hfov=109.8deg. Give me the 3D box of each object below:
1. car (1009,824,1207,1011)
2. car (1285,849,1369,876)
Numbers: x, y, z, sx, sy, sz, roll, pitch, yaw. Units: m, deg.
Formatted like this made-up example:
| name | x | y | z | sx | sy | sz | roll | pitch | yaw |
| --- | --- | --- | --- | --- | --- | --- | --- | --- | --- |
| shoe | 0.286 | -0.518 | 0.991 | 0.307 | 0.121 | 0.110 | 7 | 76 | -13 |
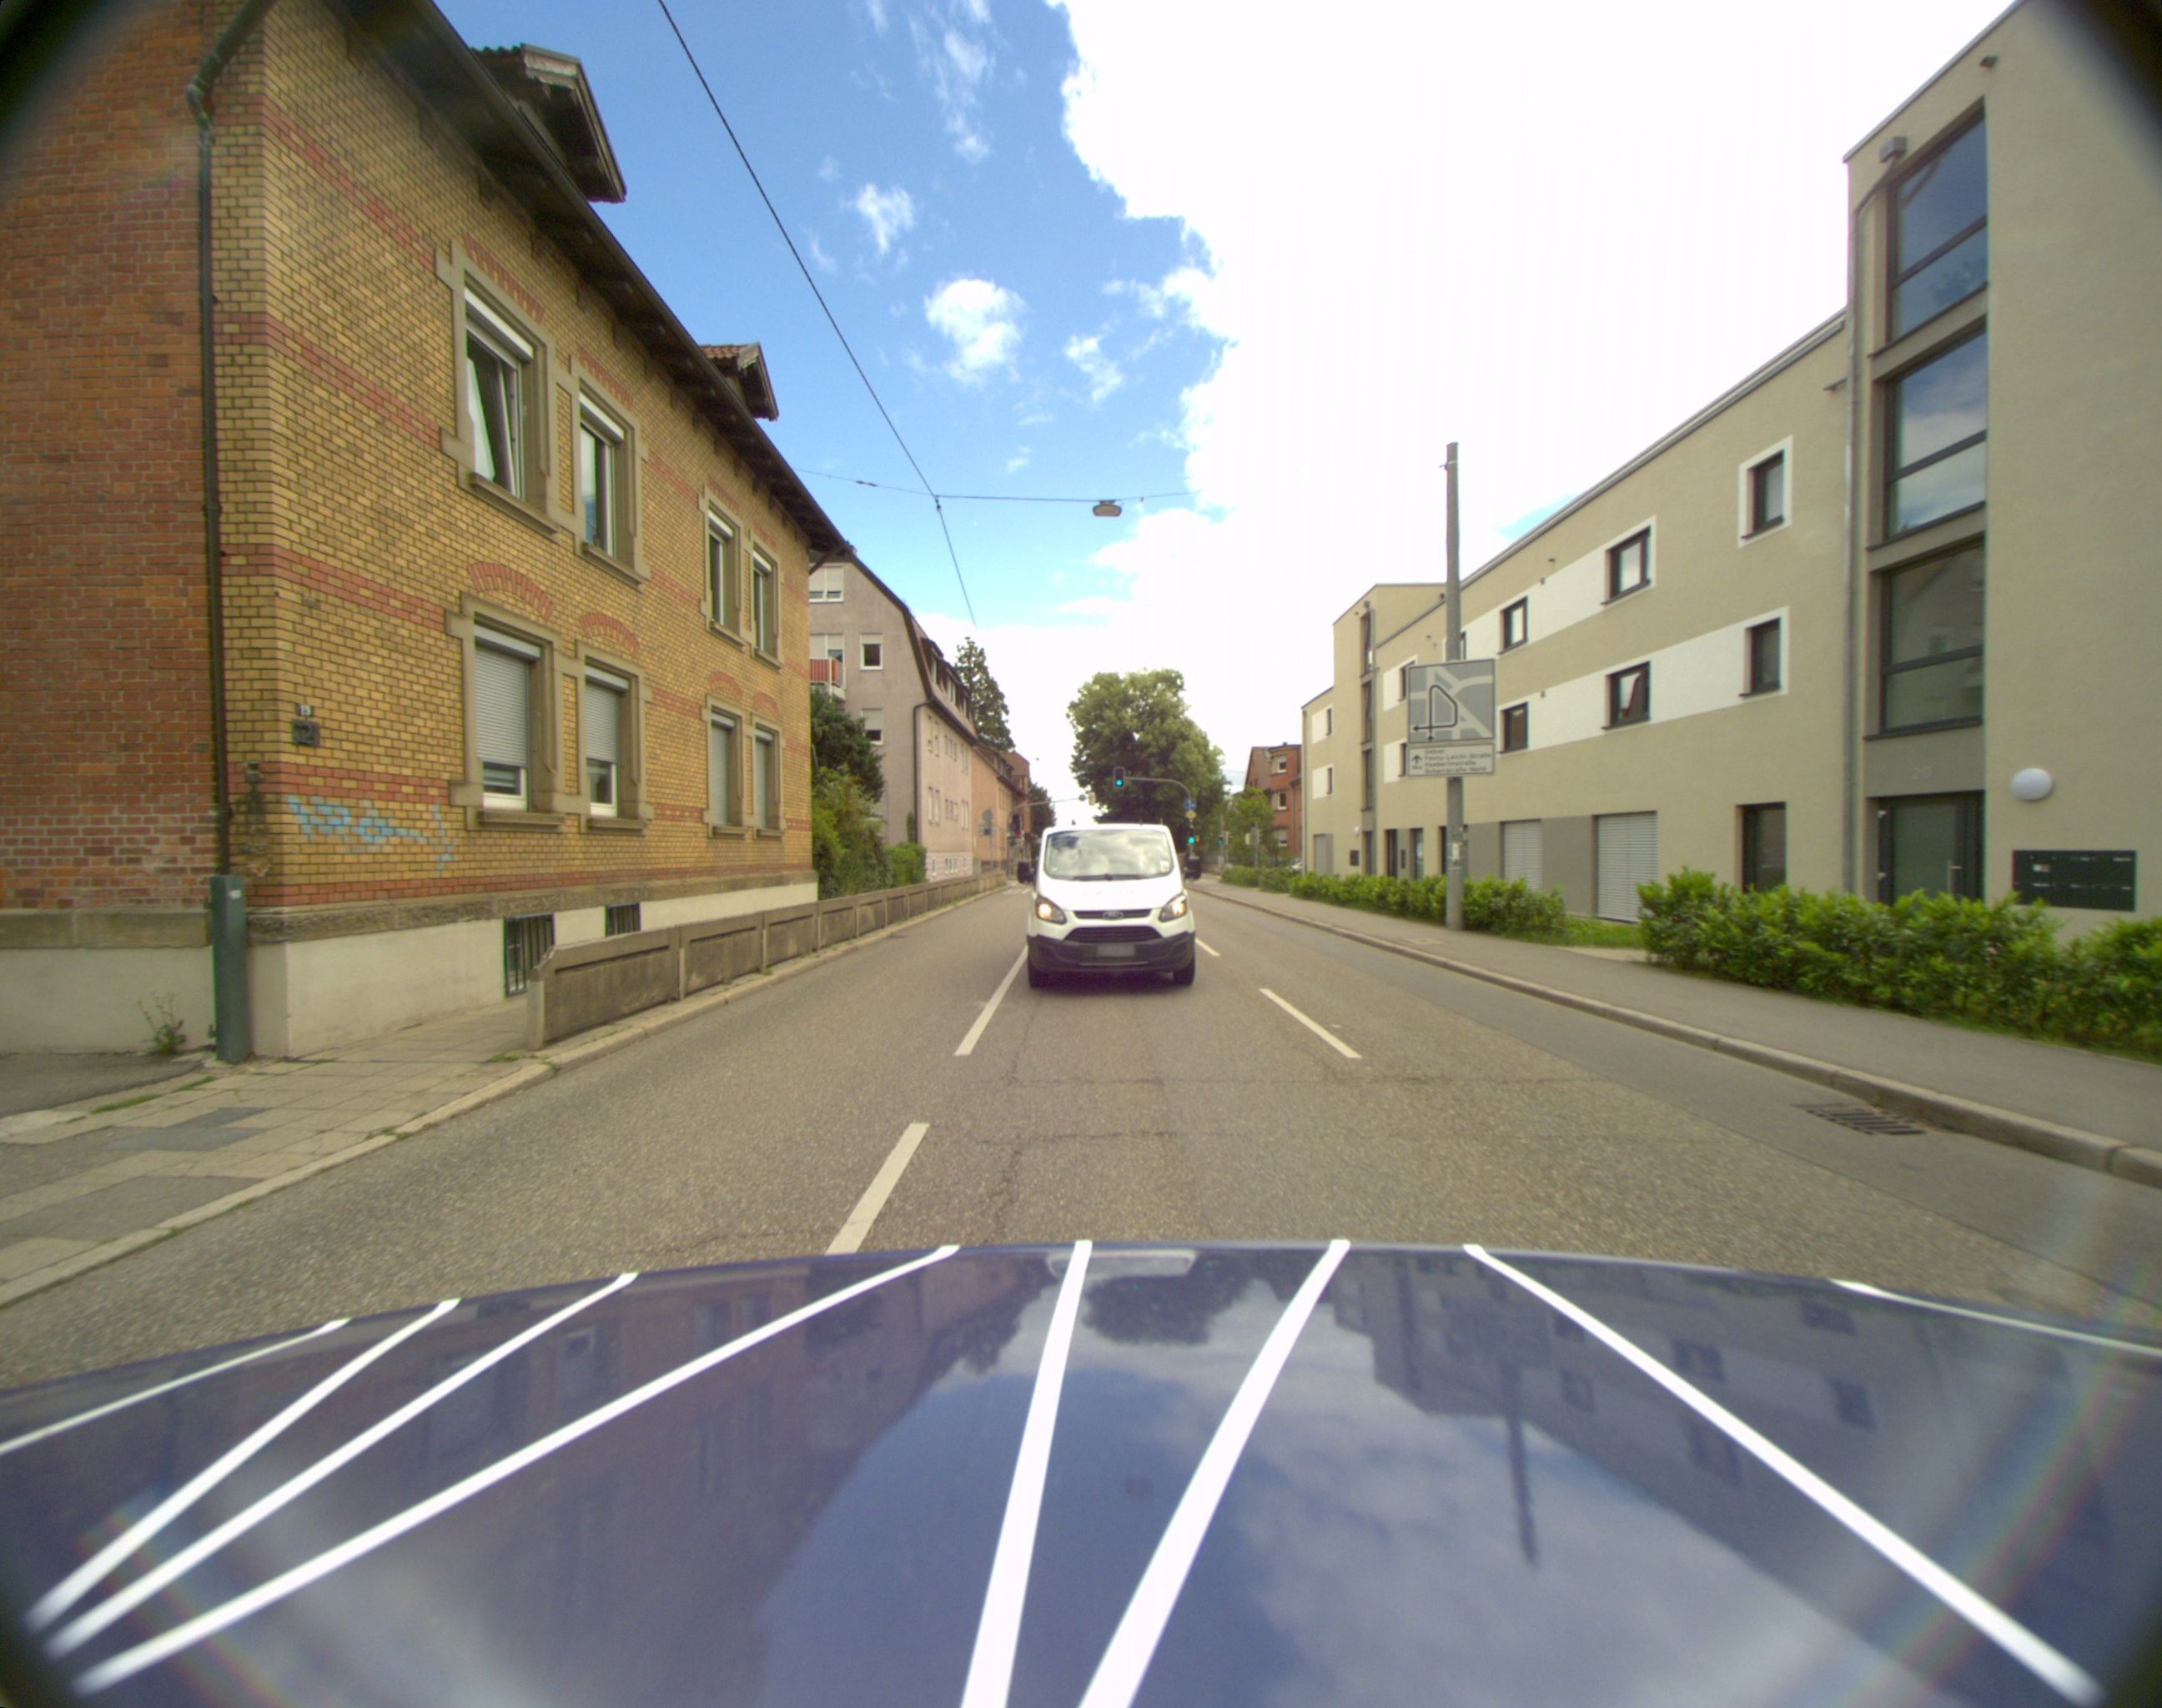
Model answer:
| name | x | y | z | sx | sy | sz | roll | pitch | yaw |
| --- | --- | --- | --- | --- | --- | --- | --- | --- | --- |
| car | 0.285 | 0.659 | 10.569 | 2.062 | 1.946 | 5.059 | -1 | 1 | 0 |
| car | 16.283 | 0.554 | 50.482 | 4.813 | 1.675 | 2.174 | -1 | 1 | -4 |
